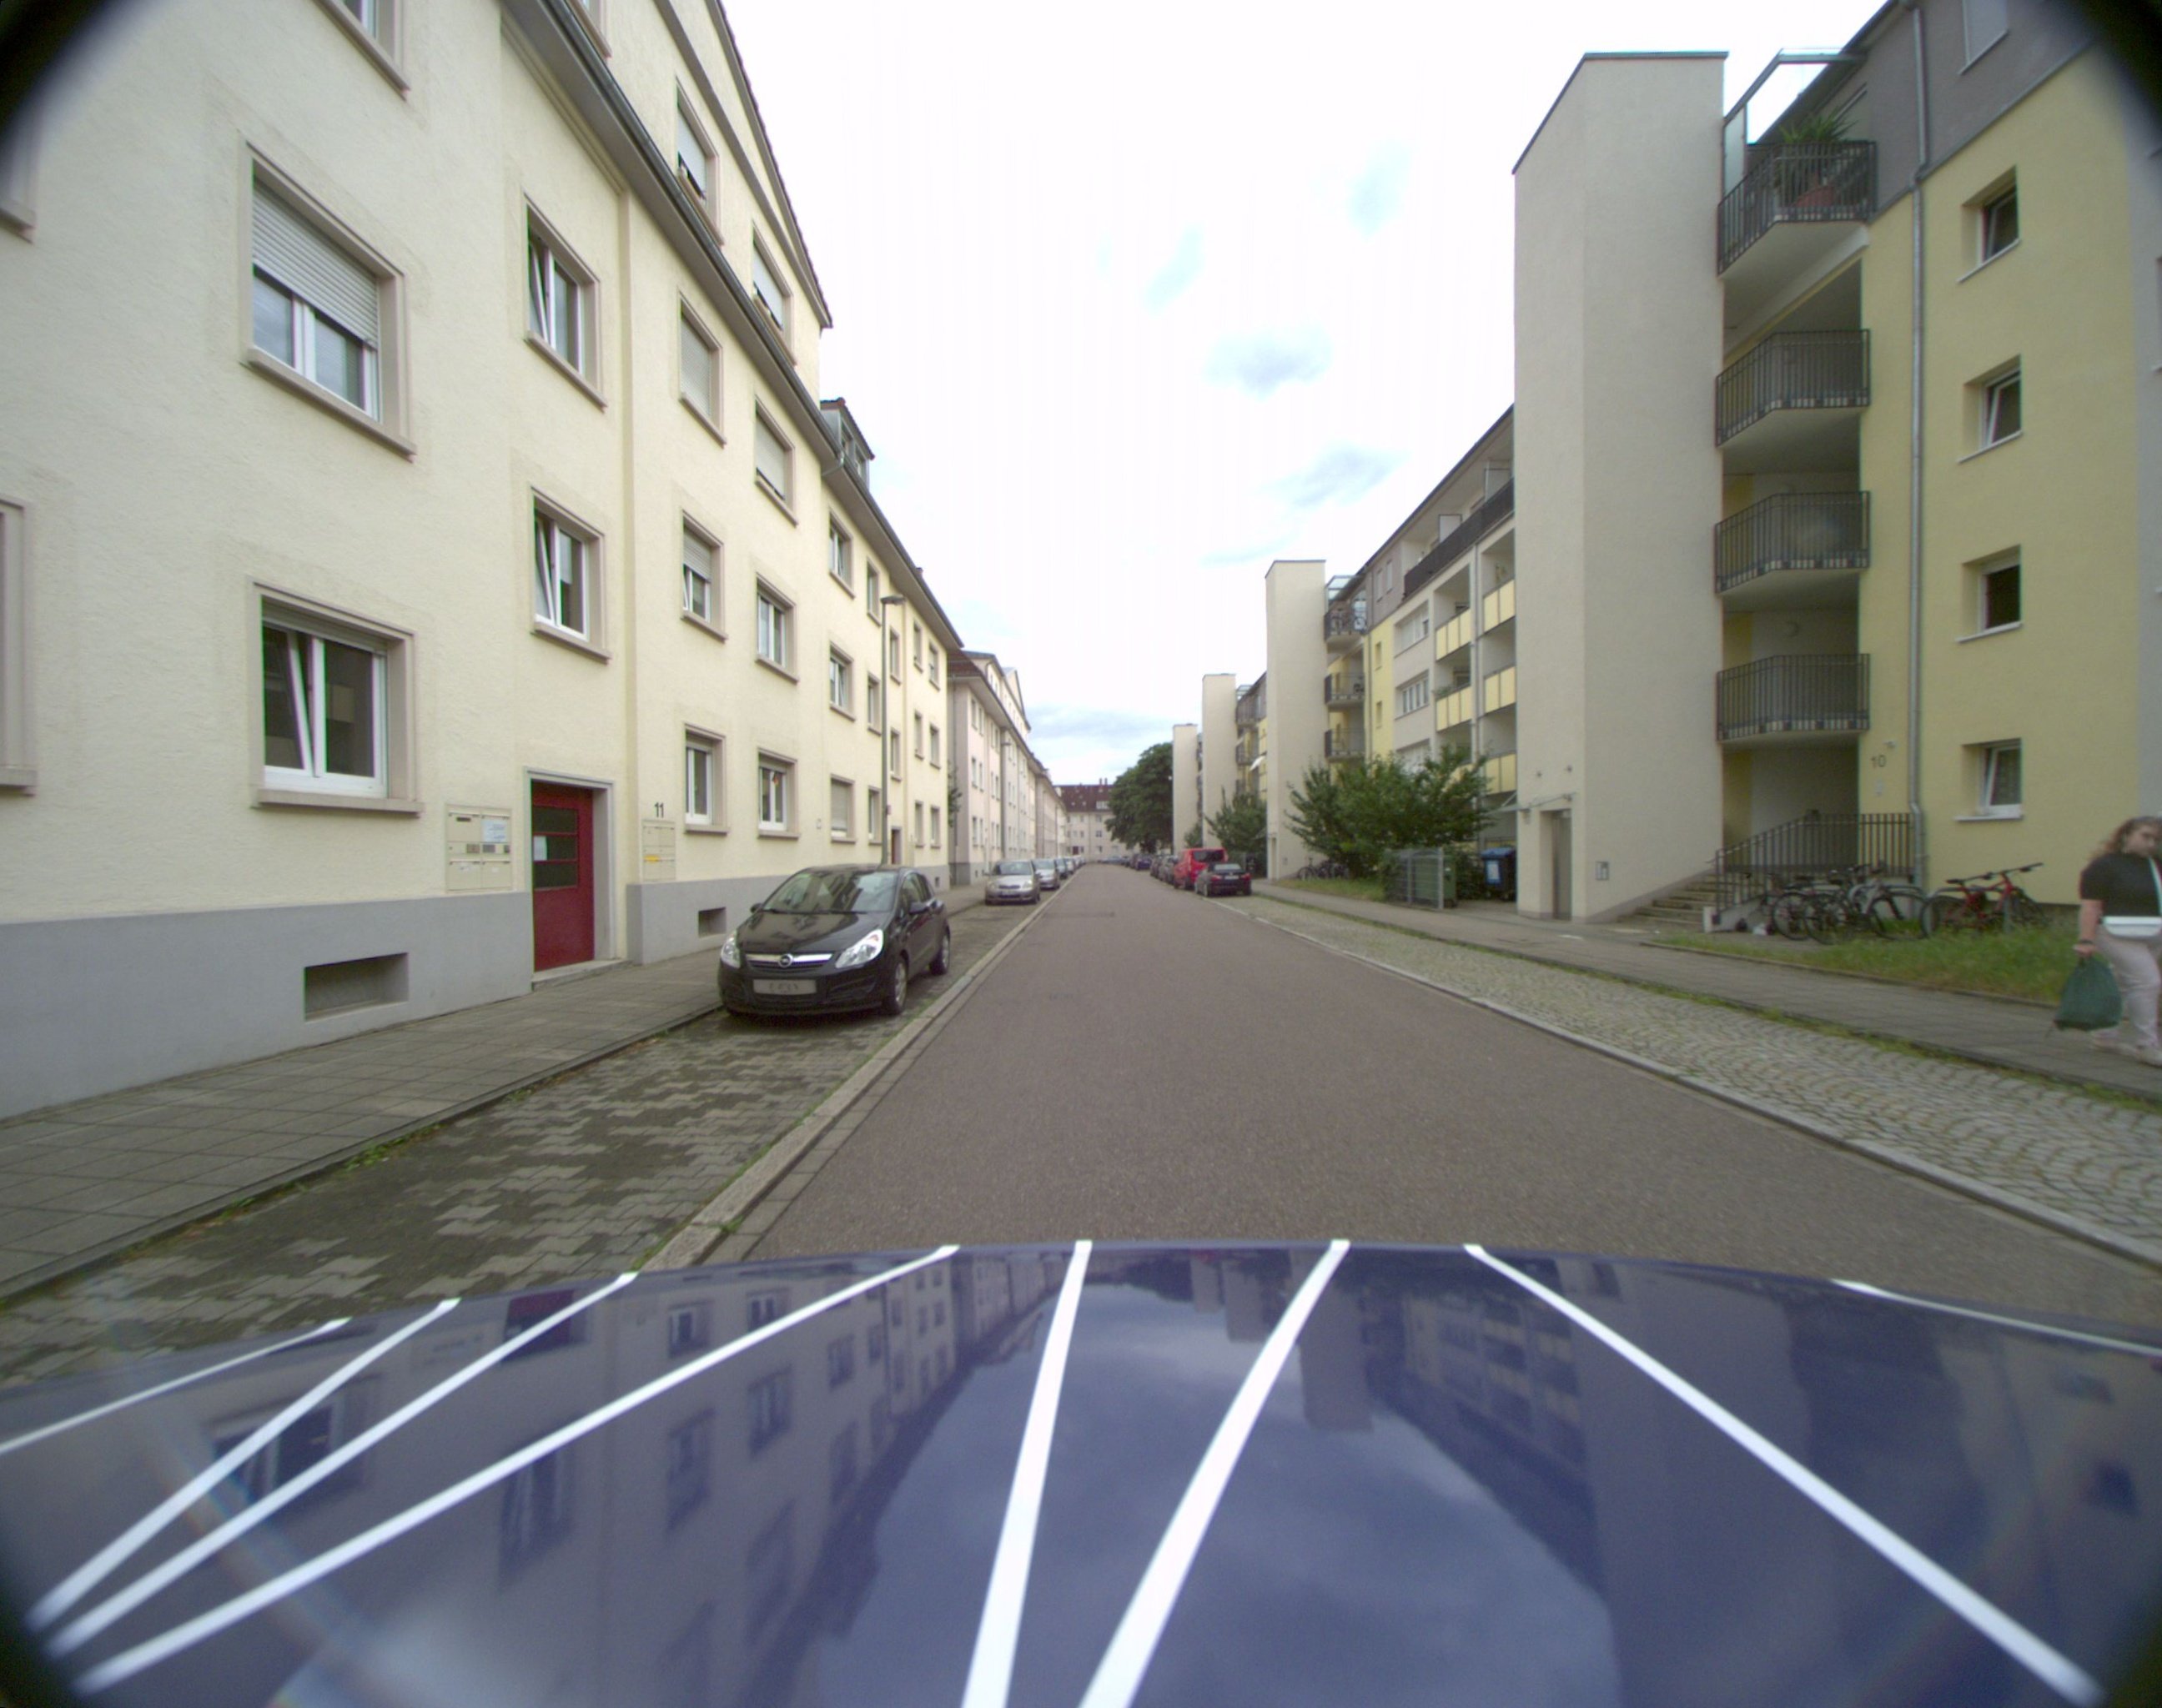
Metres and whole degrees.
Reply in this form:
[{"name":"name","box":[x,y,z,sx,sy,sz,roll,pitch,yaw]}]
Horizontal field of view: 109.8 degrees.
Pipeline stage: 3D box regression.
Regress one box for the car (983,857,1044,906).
[{"name":"car","box":[-2.218,0.878,25.932,1.729,1.508,4.060,-1,0,0]}]

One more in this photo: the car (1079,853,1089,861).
[{"name":"car","box":[0.537,0.544,132.769,1.563,1.334,3.789,0,0,1]}]

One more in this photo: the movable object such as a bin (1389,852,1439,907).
[{"name":"movable object such as a bin","box":[9.018,0.680,20.620,0.805,1.421,1.288,-2,1,4]}]

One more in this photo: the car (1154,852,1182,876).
[{"name":"car","box":[6.029,0.634,52.850,1.657,1.521,3.895,-3,0,3]}]

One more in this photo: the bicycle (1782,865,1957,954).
[{"name":"bicycle","box":[10.887,0.741,10.505,2.029,1.135,0.623,-1,1,-9]}]

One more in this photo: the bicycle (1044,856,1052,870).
[{"name":"bicycle","box":[-2.879,0.771,66.065,0.607,1.133,2.125,0,0,1]}]

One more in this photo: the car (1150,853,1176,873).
[{"name":"car","box":[6.286,0.687,58.453,1.647,1.430,3.856,-3,0,1]}]

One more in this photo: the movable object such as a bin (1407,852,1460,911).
[{"name":"movable object such as a bin","box":[8.926,0.664,19.275,0.805,1.421,1.288,-2,1,5]}]

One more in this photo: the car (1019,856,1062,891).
[{"name":"car","box":[-1.843,0.887,36.035,1.729,1.483,4.060,-1,0,1]}]

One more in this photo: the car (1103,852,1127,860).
[{"name":"car","box":[6.561,0.342,146.799,4.545,1.551,1.565,0,1,5]}]

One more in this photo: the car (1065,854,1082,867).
[{"name":"car","box":[-0.864,0.676,86.480,1.792,1.455,4.040,0,0,1]}]

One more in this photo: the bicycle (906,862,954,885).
[{"name":"bicycle","box":[-7.415,0.933,37.369,2.213,1.070,0.648,-1,1,0]}]

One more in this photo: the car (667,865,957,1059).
[{"name":"car","box":[-2.604,0.948,8.447,1.729,1.508,4.060,-2,0,0]}]

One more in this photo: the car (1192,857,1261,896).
[{"name":"car","box":[5.746,0.840,30.429,1.875,1.316,4.361,-3,0,0]}]

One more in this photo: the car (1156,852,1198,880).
[{"name":"car","box":[5.875,0.701,47.117,1.839,1.561,4.861,-3,0,-1]}]

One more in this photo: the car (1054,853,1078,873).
[{"name":"car","box":[-1.245,0.746,64.788,1.788,1.590,3.805,-2,0,2]}]

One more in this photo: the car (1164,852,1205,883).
[{"name":"car","box":[5.665,0.712,42.098,1.725,1.561,4.054,-3,0,1]}]

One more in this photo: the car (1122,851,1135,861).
[{"name":"car","box":[7.765,0.347,123.986,2.000,1.566,4.210,-3,0,2]}]

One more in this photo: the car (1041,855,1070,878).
[{"name":"car","box":[-1.672,0.838,51.498,1.729,1.460,4.264,0,0,1]}]

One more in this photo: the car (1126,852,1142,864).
[{"name":"car","box":[7.232,0.520,104.049,1.919,1.431,4.434,-3,0,0]}]

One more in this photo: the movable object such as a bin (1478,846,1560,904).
[{"name":"movable object such as a bin","box":[11.710,0.534,20.370,1.355,1.456,1.372,-2,1,0]}]

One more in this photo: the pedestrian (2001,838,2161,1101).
[{"name":"pedestrian","box":[6.990,0.701,4.961,0.802,1.600,0.946,-2,1,-3]}]

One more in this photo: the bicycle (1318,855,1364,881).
[{"name":"bicycle","box":[11.640,0.619,34.017,1.838,1.112,0.571,-1,1,7]}]

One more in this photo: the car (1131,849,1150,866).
[{"name":"car","box":[6.926,0.406,88.553,1.891,1.844,4.785,-1,0,0]}]

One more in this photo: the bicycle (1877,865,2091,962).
[{"name":"bicycle","box":[11.396,0.729,9.621,2.028,1.135,0.623,-1,1,-2]}]

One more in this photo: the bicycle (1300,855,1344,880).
[{"name":"bicycle","box":[11.320,0.632,35.673,1.839,1.112,0.605,-2,1,0]}]

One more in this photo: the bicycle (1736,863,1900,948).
[{"name":"bicycle","box":[10.777,0.730,11.130,2.029,1.135,0.623,-1,1,-8]}]

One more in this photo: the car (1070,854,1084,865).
[{"name":"car","box":[-0.536,0.711,105.568,1.758,1.477,3.773,0,0,1]}]

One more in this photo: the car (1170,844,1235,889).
[{"name":"car","box":[5.736,0.558,36.540,2.157,1.942,4.921,-3,0,-1]}]

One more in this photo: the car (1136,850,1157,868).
[{"name":"car","box":[6.606,0.487,76.612,1.804,1.617,4.472,-2,0,1]}]

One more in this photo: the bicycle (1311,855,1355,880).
[{"name":"bicycle","box":[11.606,0.615,34.994,1.839,1.112,0.570,-1,1,3]}]
